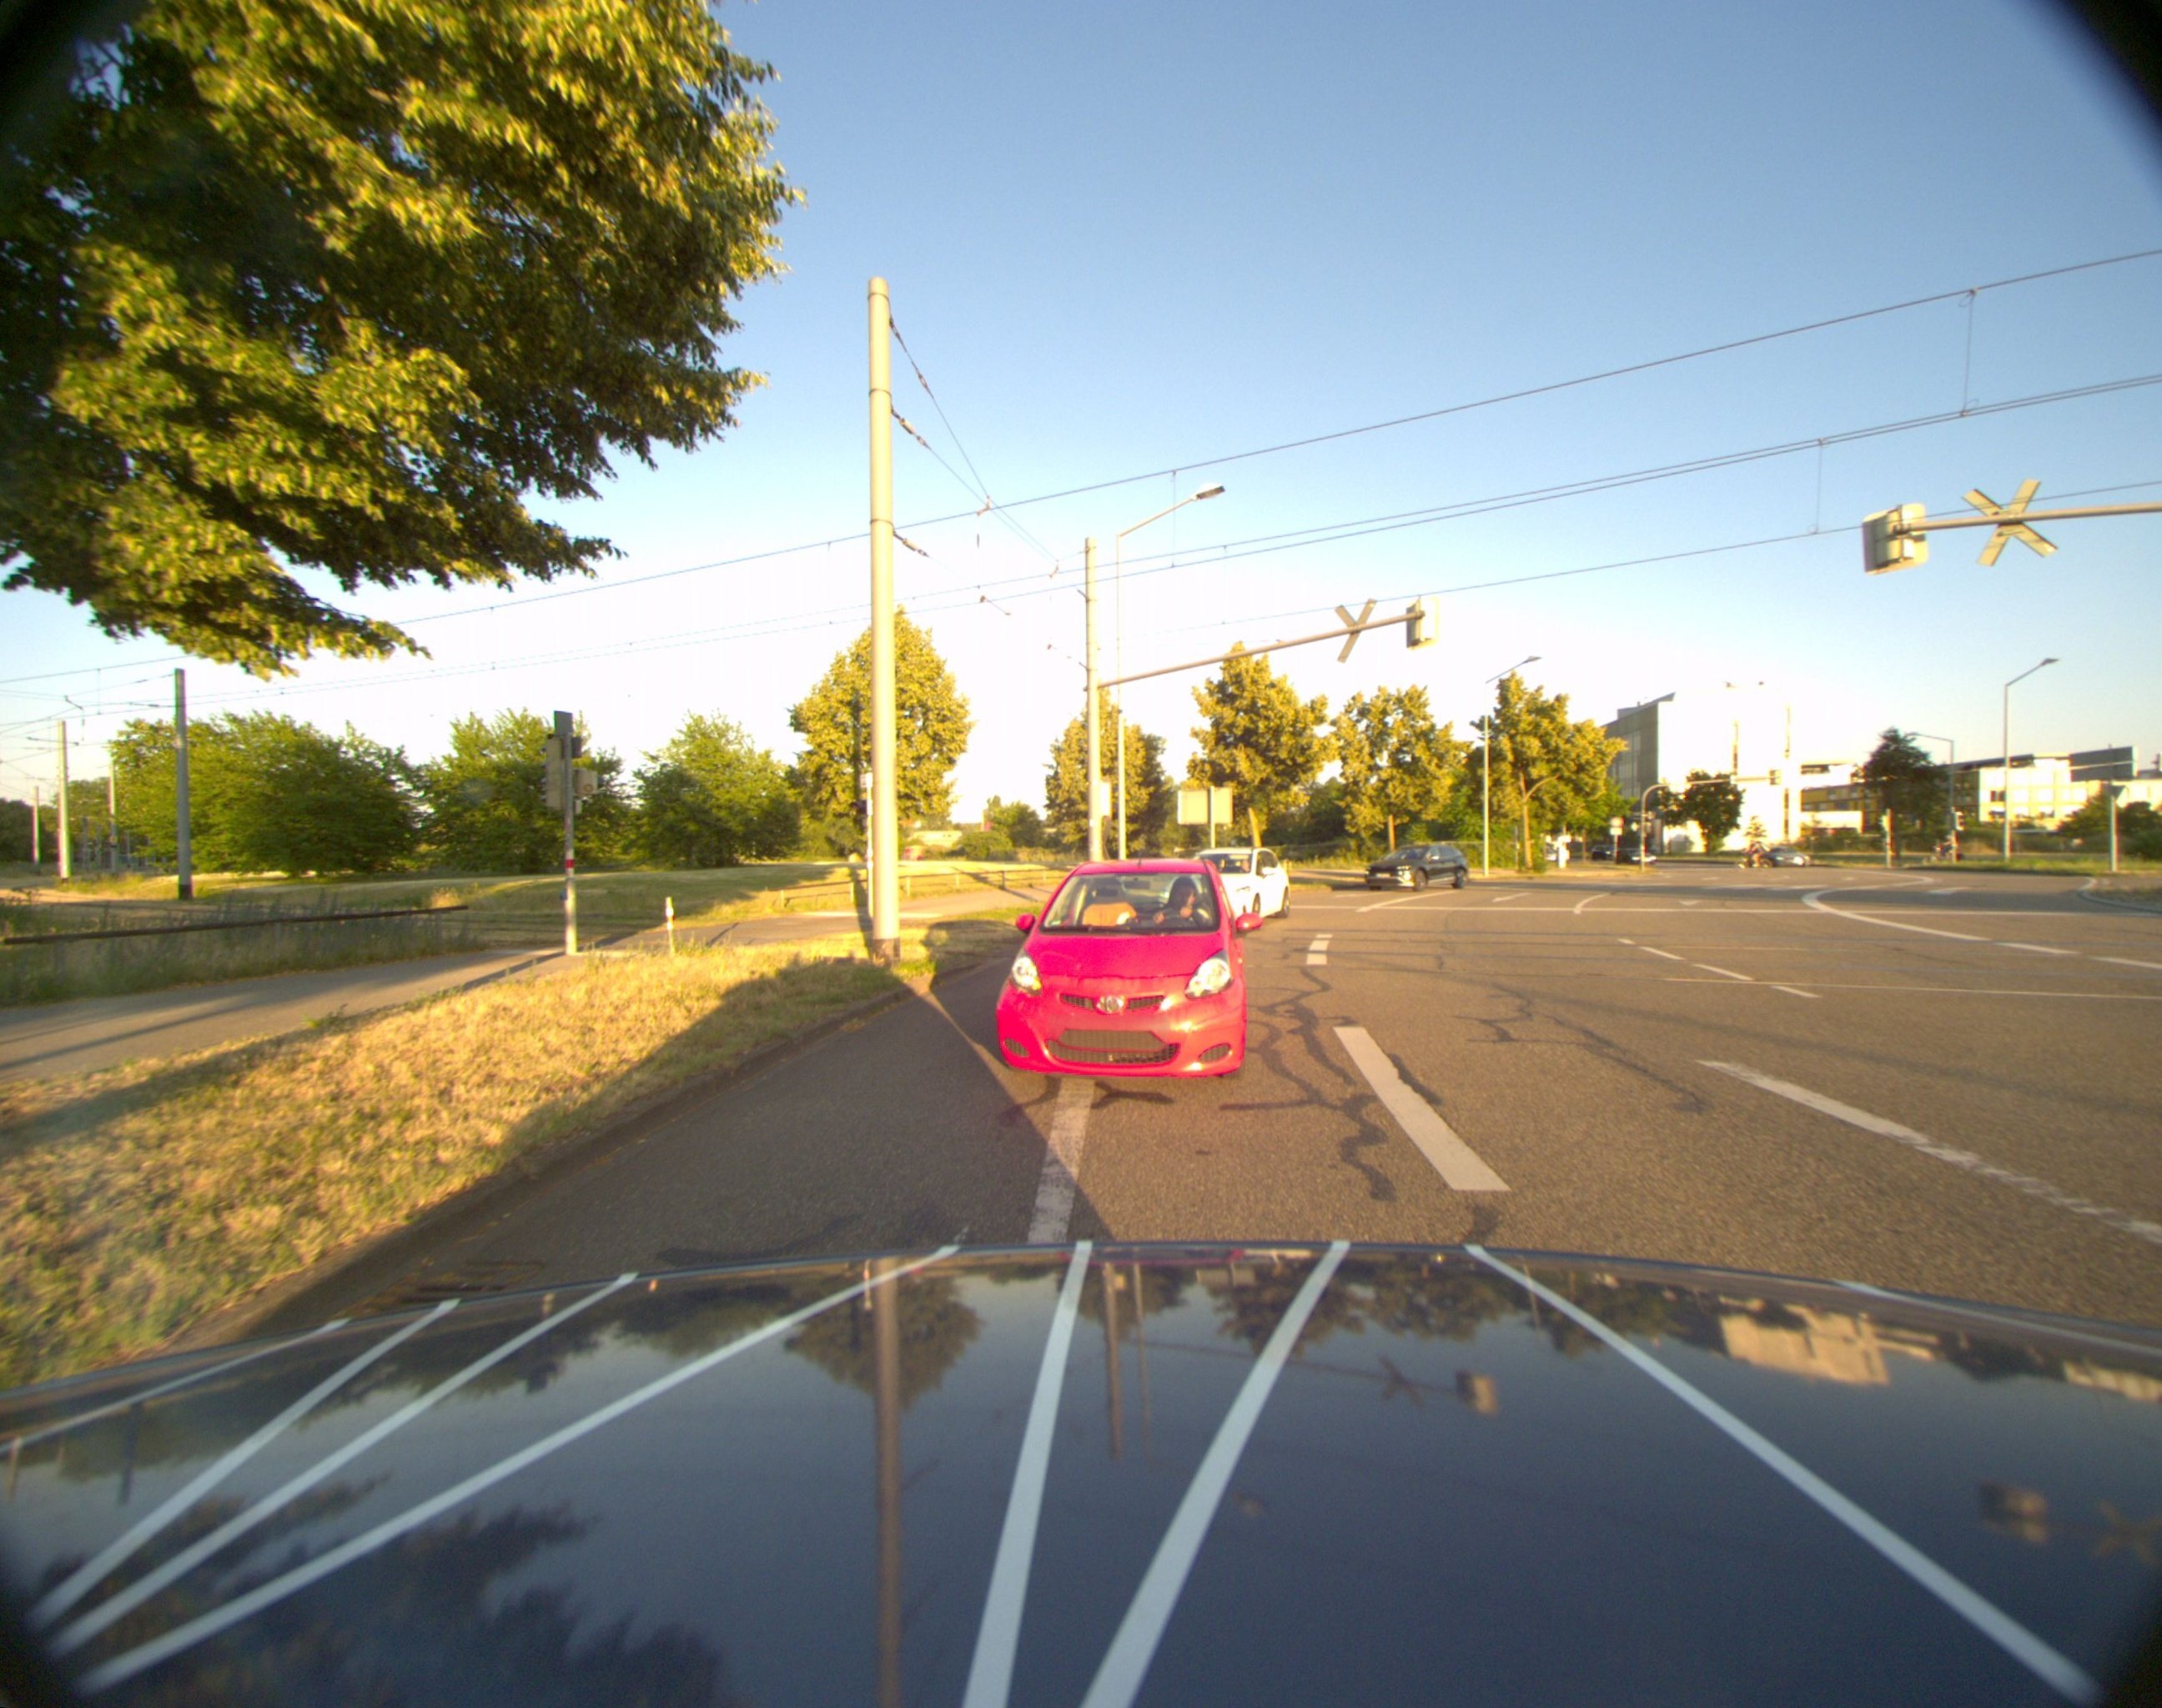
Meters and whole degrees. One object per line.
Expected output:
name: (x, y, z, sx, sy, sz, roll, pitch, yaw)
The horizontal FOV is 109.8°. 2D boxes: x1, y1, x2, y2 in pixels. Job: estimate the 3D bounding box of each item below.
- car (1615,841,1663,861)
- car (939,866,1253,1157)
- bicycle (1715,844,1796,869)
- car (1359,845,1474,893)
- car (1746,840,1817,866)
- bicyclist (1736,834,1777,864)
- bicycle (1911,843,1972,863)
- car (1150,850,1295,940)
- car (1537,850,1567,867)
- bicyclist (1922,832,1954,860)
car: (47.826, -0.291, 65.203, 1.870, 1.616, 4.196, -1, 1, 13)
car: (0.470, 0.881, 6.202, 1.692, 1.413, 4.214, -2, 0, 12)
bicycle: (39.767, 0.143, 44.822, 3.534, 1.387, 1.124, -1, 1, 8)
car: (11.878, 0.484, 26.816, 4.222, 1.549, 1.823, -1, 1, -35)
car: (46.878, -0.114, 50.959, 1.869, 1.616, 4.197, -1, 1, 17)
bicyclist: (39.798, -0.285, 44.787, 1.415, 1.739, 1.124, -1, 1, 8)
bicycle: (51.220, -0.078, 45.269, 2.324, 1.172, 0.811, -1, 1, 15)
car: (3.030, 0.713, 15.499, 1.755, 1.549, 4.222, 0, 0, 27)
car: (48.819, 0.444, 78.818, 1.869, 1.740, 3.857, 0, 1, 21)
bicyclist: (51.083, -0.483, 45.292, 0.999, 1.623, 0.811, 0, 1, 15)
